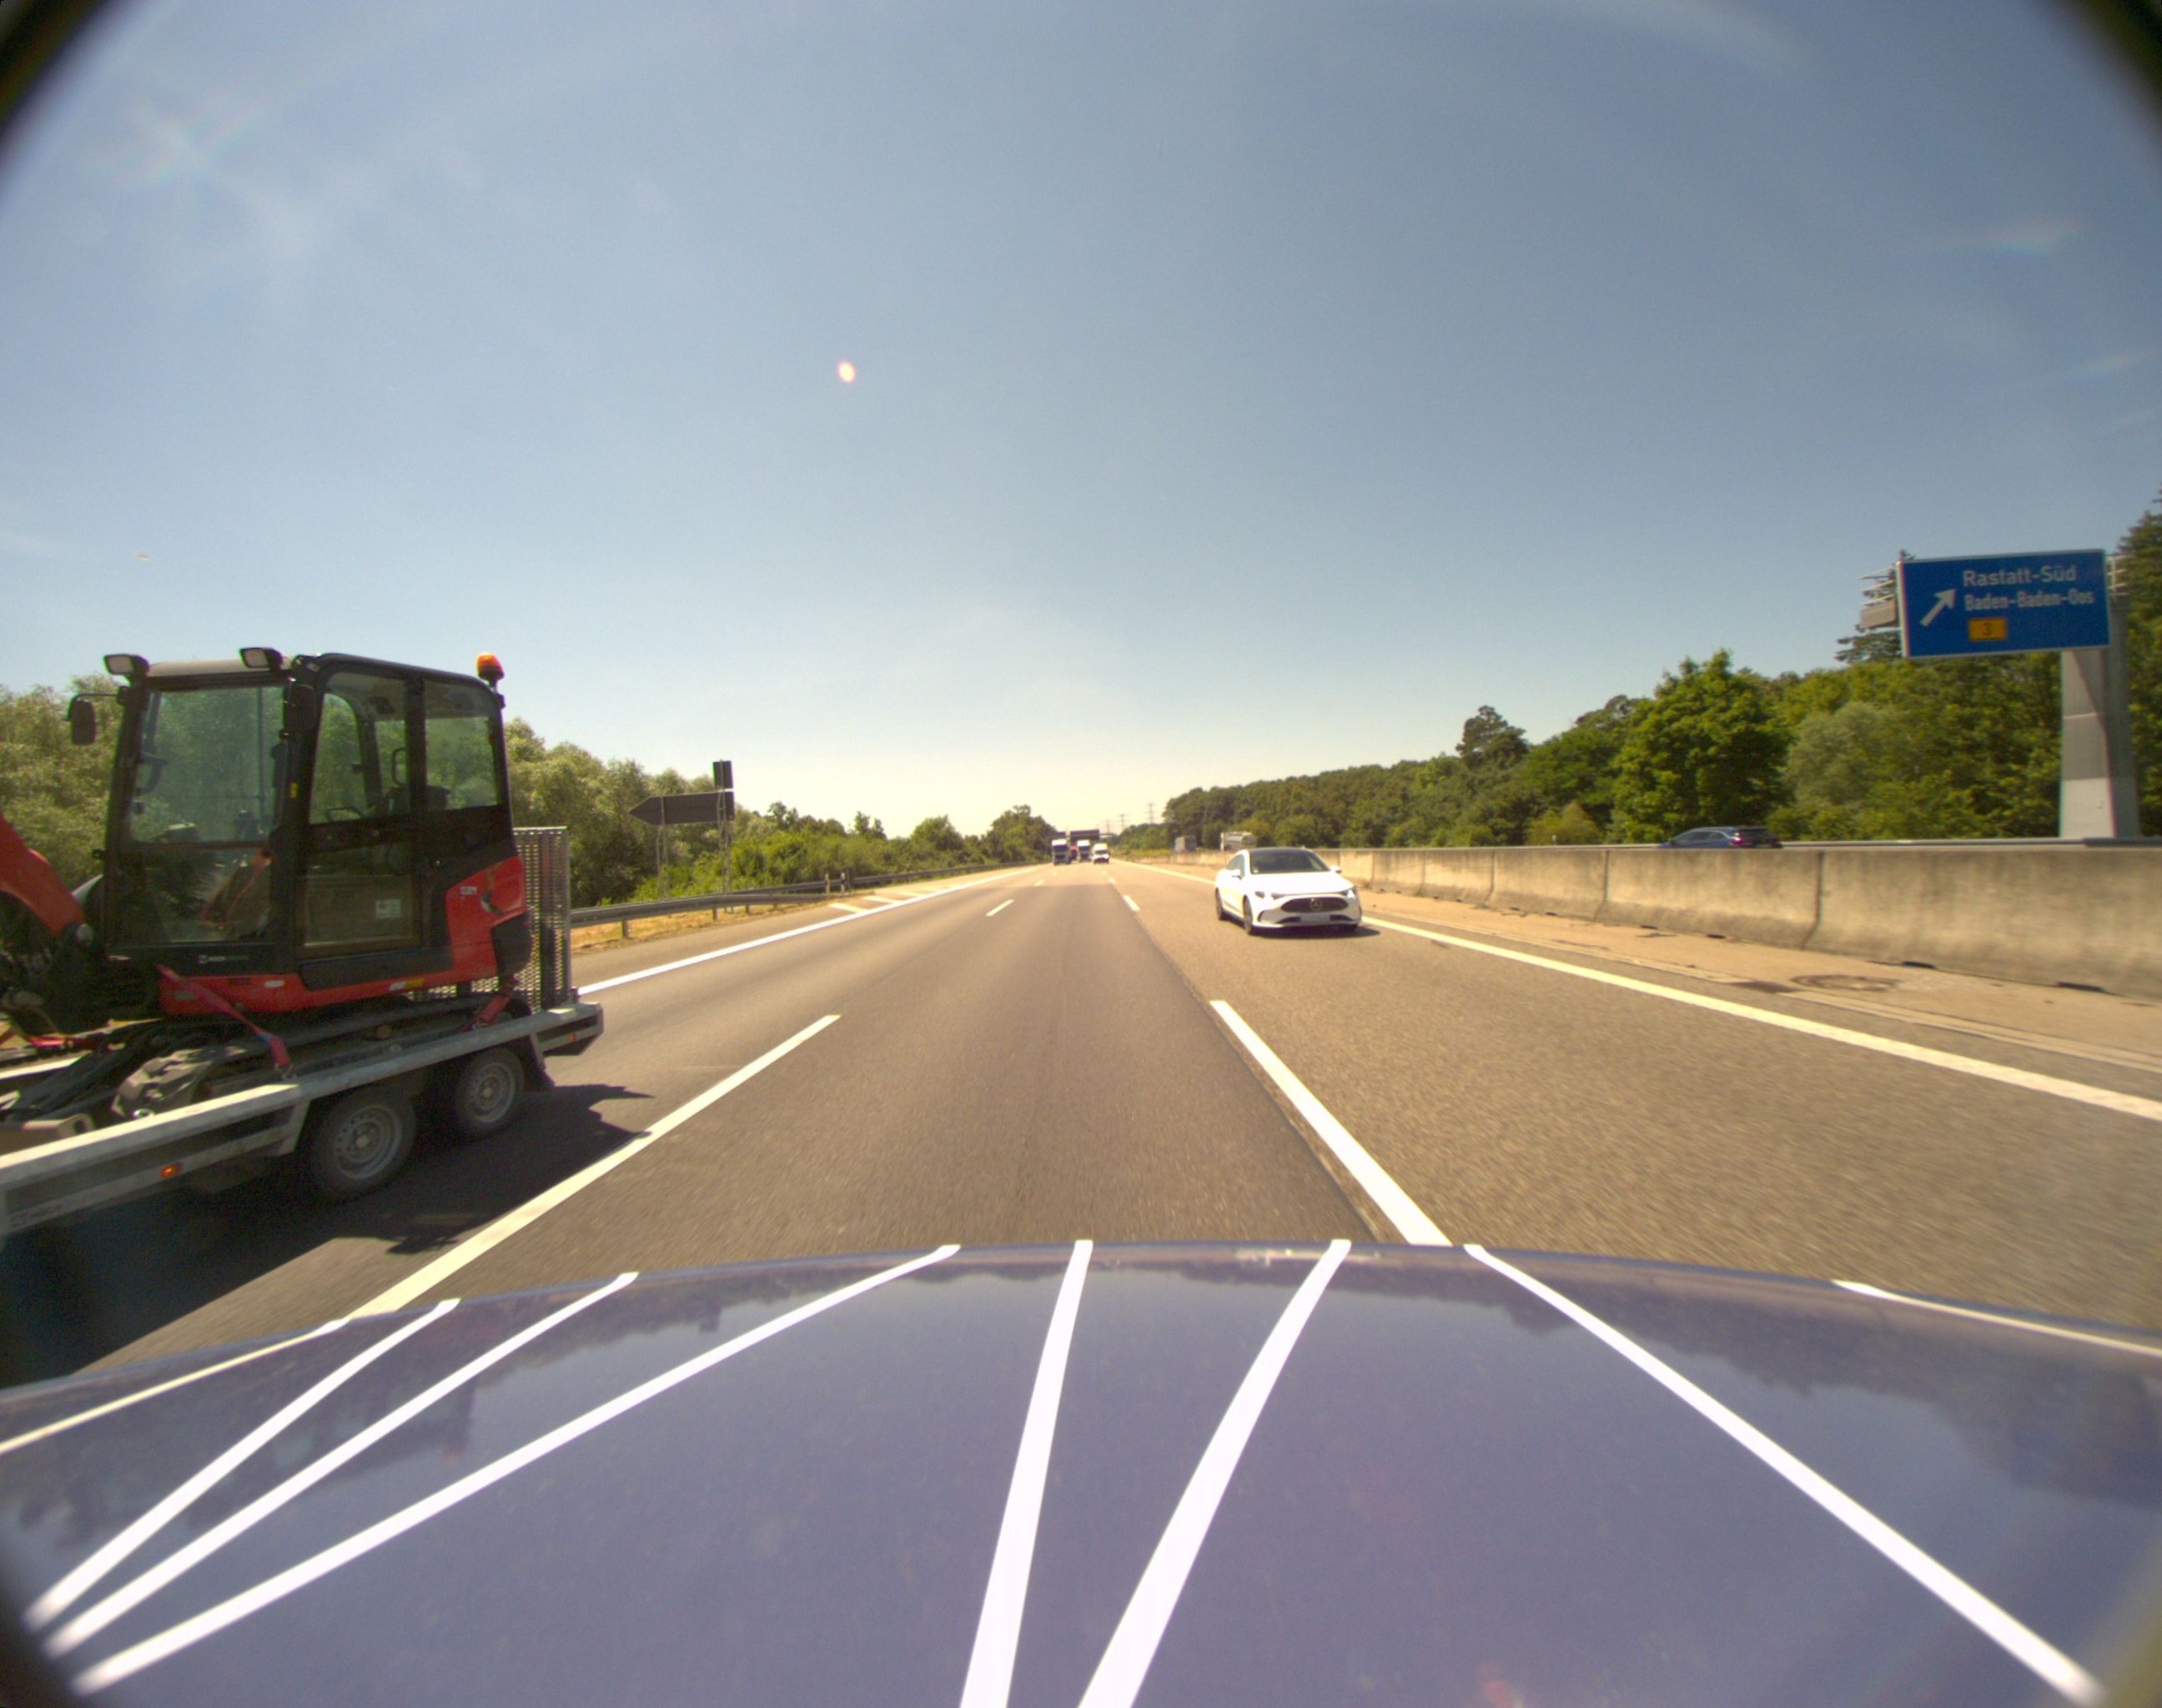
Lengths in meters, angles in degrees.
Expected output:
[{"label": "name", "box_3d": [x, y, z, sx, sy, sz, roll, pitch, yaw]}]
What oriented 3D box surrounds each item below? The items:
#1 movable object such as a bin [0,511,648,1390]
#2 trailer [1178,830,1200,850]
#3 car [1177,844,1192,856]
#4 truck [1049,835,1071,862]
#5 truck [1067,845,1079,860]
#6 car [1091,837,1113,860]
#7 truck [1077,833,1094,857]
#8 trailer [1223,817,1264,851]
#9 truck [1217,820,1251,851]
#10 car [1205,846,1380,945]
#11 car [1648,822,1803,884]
[{"label": "movable object such as a bin", "box_3d": [-4.533, 0.324, 3.482, 2.179, 2.799, 4.760, -3, 1, 1]}, {"label": "trailer", "box_3d": [23.035, -2.954, 162.615, 2.992, 4.052, 11.774, -3, 0, 1]}, {"label": "car", "box_3d": [18.309, -0.663, 134.590, 1.999, 2.002, 4.574, -3, 1, 0]}, {"label": "truck", "box_3d": [-3.368, -0.990, 125.637, 2.990, 4.187, 7.593, -3, 1, 2]}, {"label": "truck", "box_3d": [-2.133, -0.476, 207.314, 2.852, 3.747, 6.495, -6, 1, 1]}, {"label": "car", "box_3d": [2.879, -0.789, 104.116, 2.522, 2.857, 6.400, -6, 1, 2]}, {"label": "truck", "box_3d": [0.844, -1.713, 145.851, 2.700, 4.232, 8.243, -6, 1, 2]}, {"label": "trailer", "box_3d": [21.519, -2.608, 101.410, 2.814, 4.024, 10.429, -6, 1, -1]}, {"label": "truck", "box_3d": [21.449, -2.539, 107.059, 2.814, 4.024, 7.729, -6, 1, 0]}, {"label": "car", "box_3d": [3.609, 0.620, 14.013, 1.771, 1.440, 5.108, -2, 0, 0]}, {"label": "car", "box_3d": [23.480, -0.045, 27.934, 1.998, 2.002, 4.429, -3, 1, 2]}]
